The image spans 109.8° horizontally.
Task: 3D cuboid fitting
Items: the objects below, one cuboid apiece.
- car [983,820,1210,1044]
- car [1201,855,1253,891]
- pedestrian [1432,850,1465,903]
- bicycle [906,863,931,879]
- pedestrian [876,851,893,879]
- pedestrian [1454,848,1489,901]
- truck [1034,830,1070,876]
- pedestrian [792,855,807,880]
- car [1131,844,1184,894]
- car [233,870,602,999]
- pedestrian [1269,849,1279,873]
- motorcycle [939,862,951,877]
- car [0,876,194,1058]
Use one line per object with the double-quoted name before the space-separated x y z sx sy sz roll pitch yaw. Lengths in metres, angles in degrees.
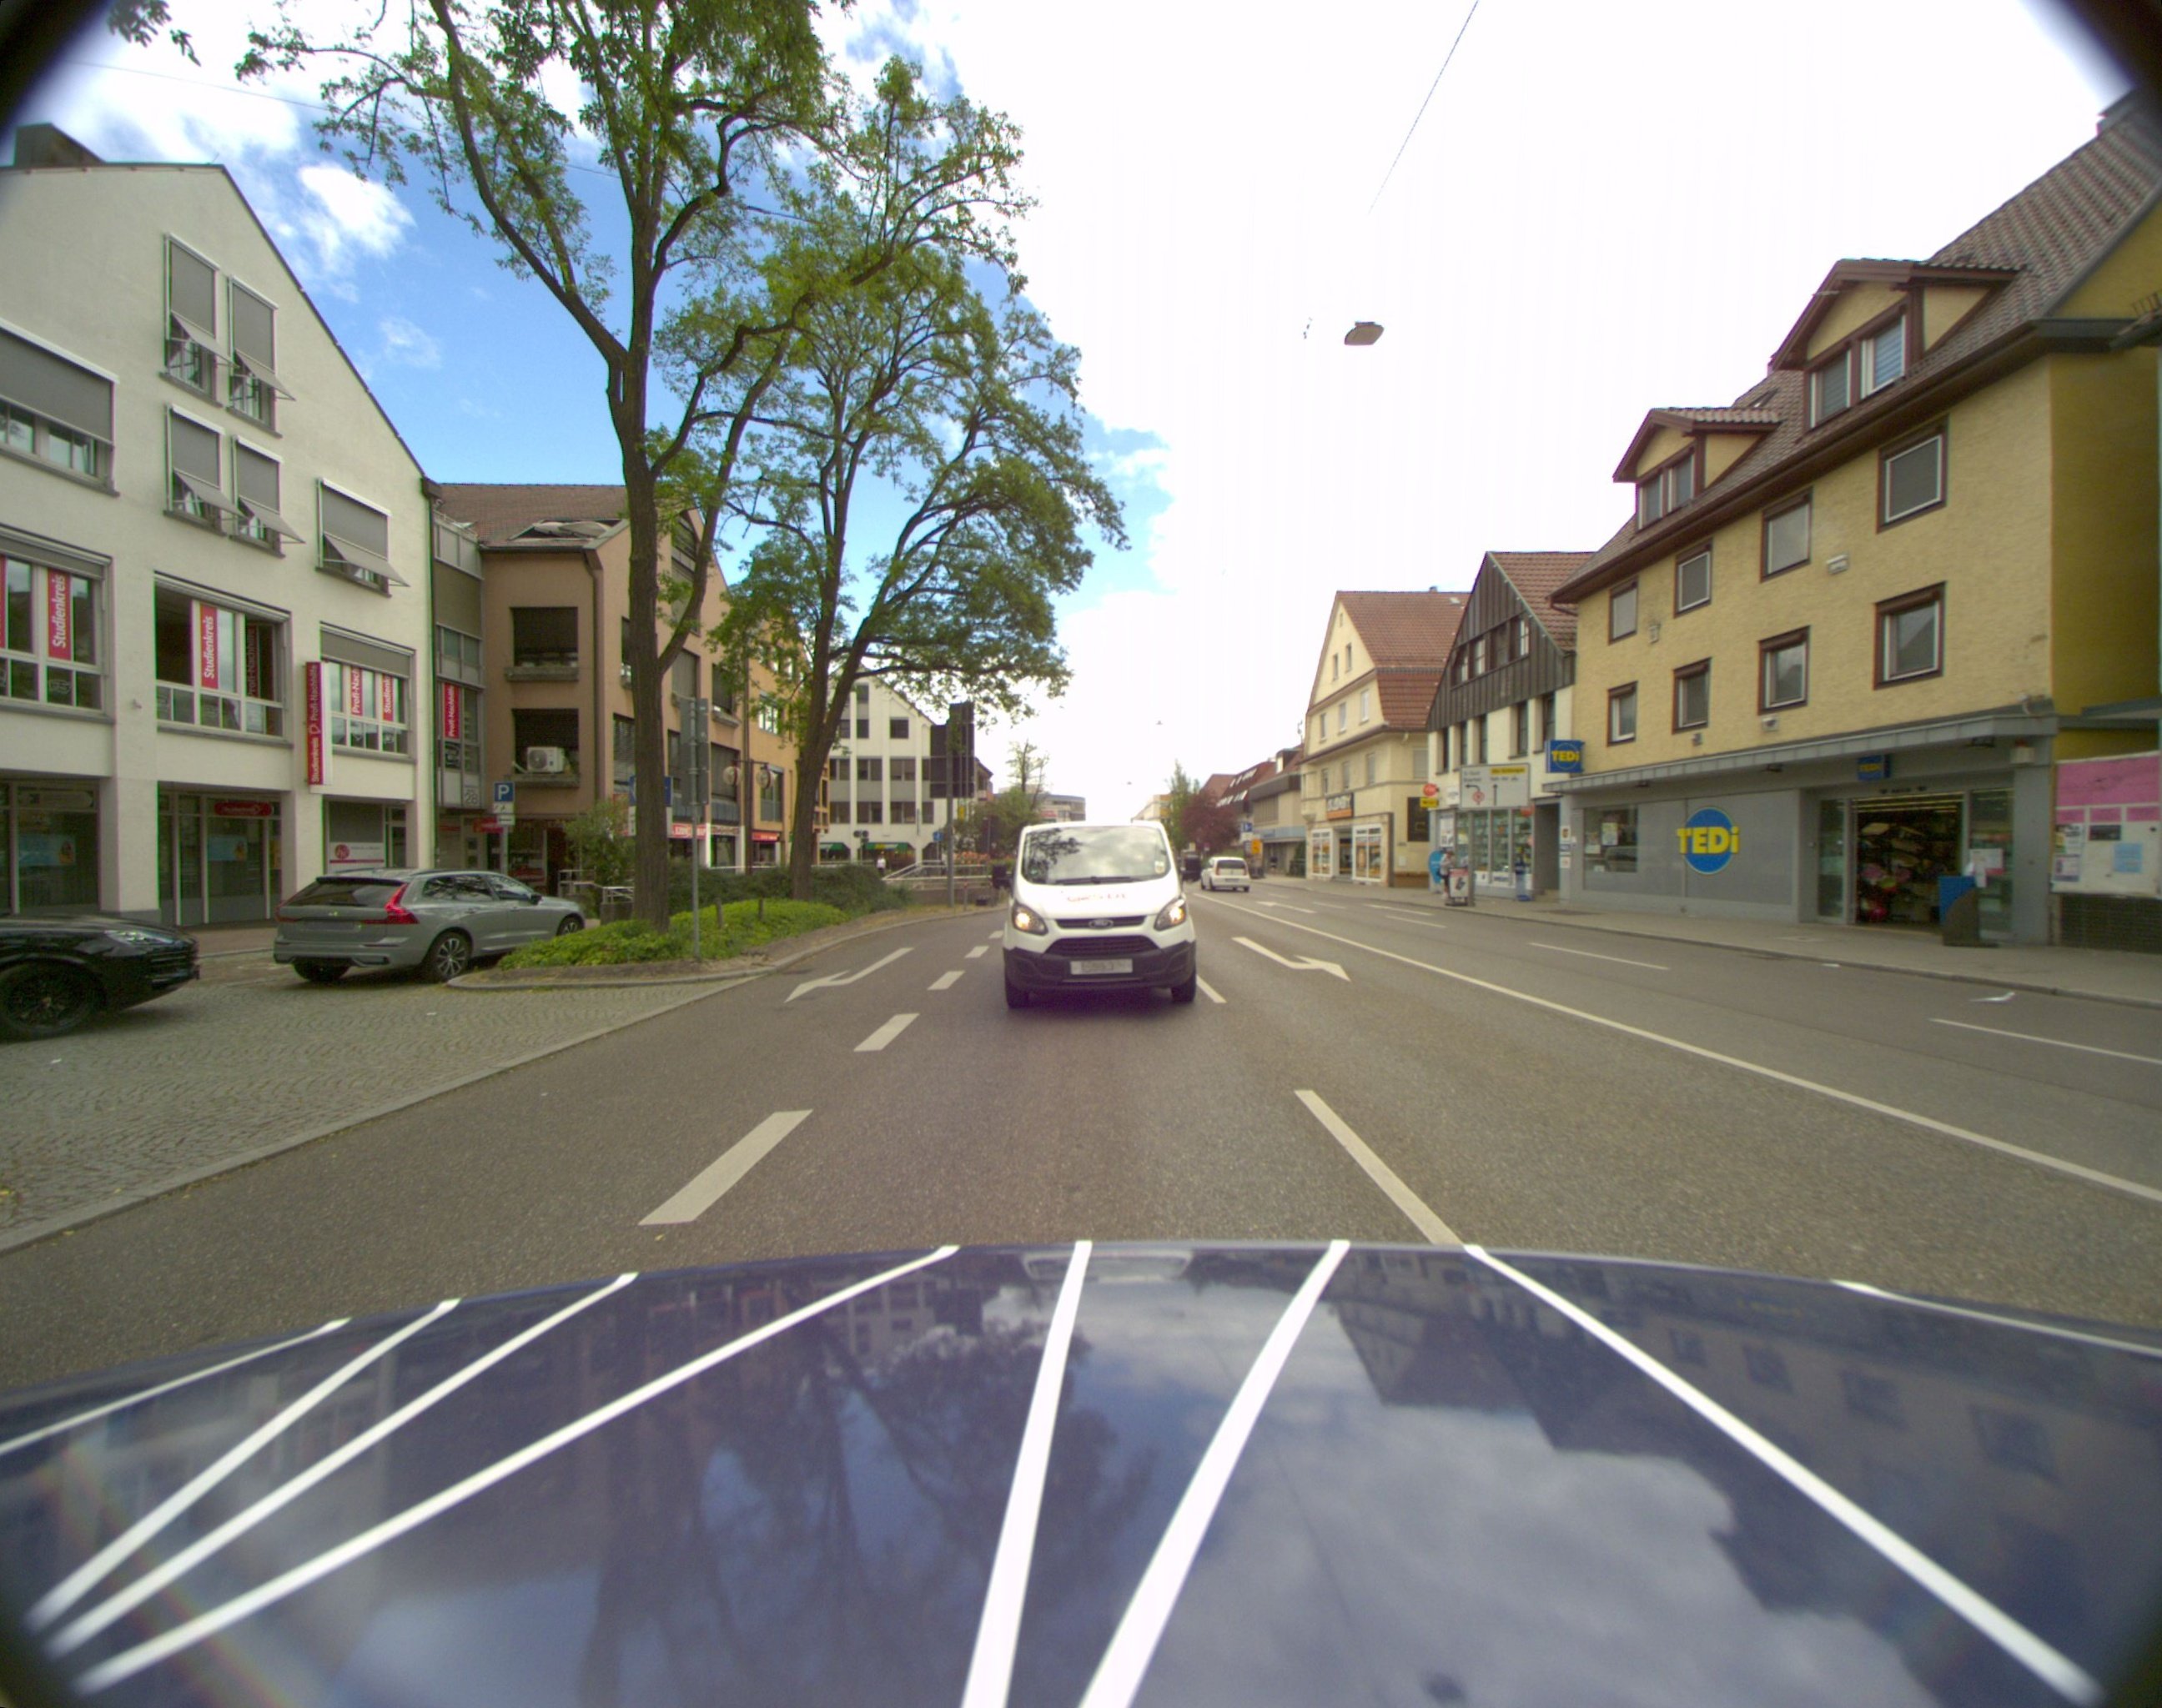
"car" 0.149 0.697 9.398 1.964 1.948 5.164 -2 0 0
"car" 6.288 0.771 32.942 1.578 1.480 3.464 0 0 0
"pedestrian" 11.847 0.711 24.523 0.689 1.680 0.742 -2 0 0
"bicycle" -10.482 1.107 49.035 1.594 0.996 0.414 -1 1 -13
"pedestrian" -12.978 0.702 50.202 0.871 1.812 0.785 -2 1 -4
"pedestrian" 12.687 0.652 24.701 0.689 1.660 0.709 -3 0 0
"truck" -2.359 -0.128 63.915 2.446 3.464 8.347 -2 1 1
"pedestrian" -19.948 0.983 53.857 0.887 1.747 0.943 -1 0 -11
"car" 3.202 0.589 32.482 1.830 1.947 4.852 -1 0 1
"car" -10.298 1.118 12.477 1.999 1.586 4.762 0 0 -2
"pedestrian" 15.156 0.539 59.658 0.551 1.878 0.592 -2 1 -4
"motorcycle" -9.780 1.095 54.708 0.464 1.062 1.995 -1 0 1
"car" -11.691 1.085 6.921 1.853 1.660 4.673 1 0 41
